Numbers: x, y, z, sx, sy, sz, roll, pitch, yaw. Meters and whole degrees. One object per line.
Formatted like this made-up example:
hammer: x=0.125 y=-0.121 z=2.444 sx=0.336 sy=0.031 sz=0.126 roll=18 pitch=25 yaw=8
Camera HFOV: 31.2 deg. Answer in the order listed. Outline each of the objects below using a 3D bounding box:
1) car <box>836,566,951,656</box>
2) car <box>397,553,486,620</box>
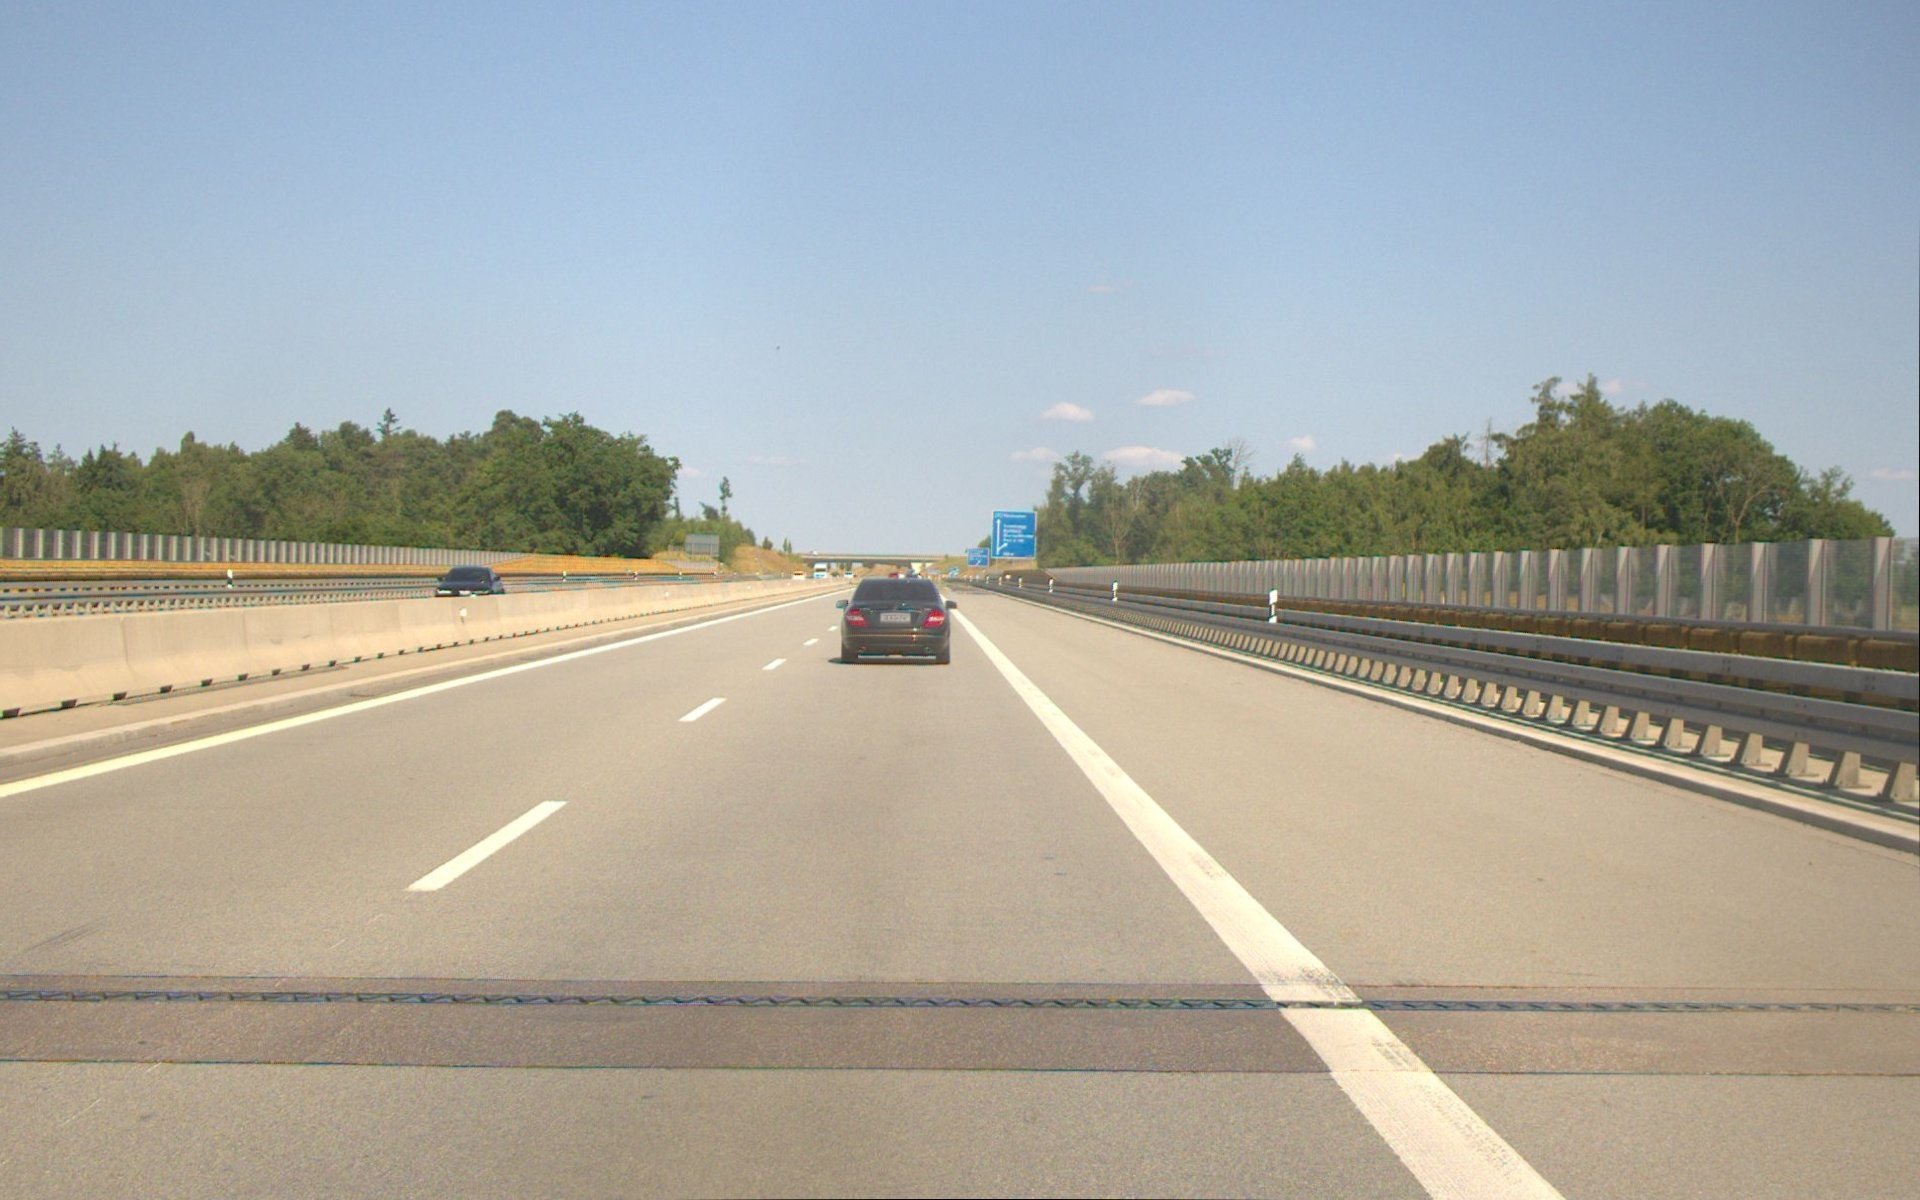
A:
car: x=-1.050 y=0.157 z=56.167 sx=1.790 sy=1.369 sz=3.917 roll=1 pitch=1 yaw=0
car: x=-16.124 y=-0.423 z=107.101 sx=1.993 sy=2.007 sz=4.761 roll=1 pitch=0 yaw=1
